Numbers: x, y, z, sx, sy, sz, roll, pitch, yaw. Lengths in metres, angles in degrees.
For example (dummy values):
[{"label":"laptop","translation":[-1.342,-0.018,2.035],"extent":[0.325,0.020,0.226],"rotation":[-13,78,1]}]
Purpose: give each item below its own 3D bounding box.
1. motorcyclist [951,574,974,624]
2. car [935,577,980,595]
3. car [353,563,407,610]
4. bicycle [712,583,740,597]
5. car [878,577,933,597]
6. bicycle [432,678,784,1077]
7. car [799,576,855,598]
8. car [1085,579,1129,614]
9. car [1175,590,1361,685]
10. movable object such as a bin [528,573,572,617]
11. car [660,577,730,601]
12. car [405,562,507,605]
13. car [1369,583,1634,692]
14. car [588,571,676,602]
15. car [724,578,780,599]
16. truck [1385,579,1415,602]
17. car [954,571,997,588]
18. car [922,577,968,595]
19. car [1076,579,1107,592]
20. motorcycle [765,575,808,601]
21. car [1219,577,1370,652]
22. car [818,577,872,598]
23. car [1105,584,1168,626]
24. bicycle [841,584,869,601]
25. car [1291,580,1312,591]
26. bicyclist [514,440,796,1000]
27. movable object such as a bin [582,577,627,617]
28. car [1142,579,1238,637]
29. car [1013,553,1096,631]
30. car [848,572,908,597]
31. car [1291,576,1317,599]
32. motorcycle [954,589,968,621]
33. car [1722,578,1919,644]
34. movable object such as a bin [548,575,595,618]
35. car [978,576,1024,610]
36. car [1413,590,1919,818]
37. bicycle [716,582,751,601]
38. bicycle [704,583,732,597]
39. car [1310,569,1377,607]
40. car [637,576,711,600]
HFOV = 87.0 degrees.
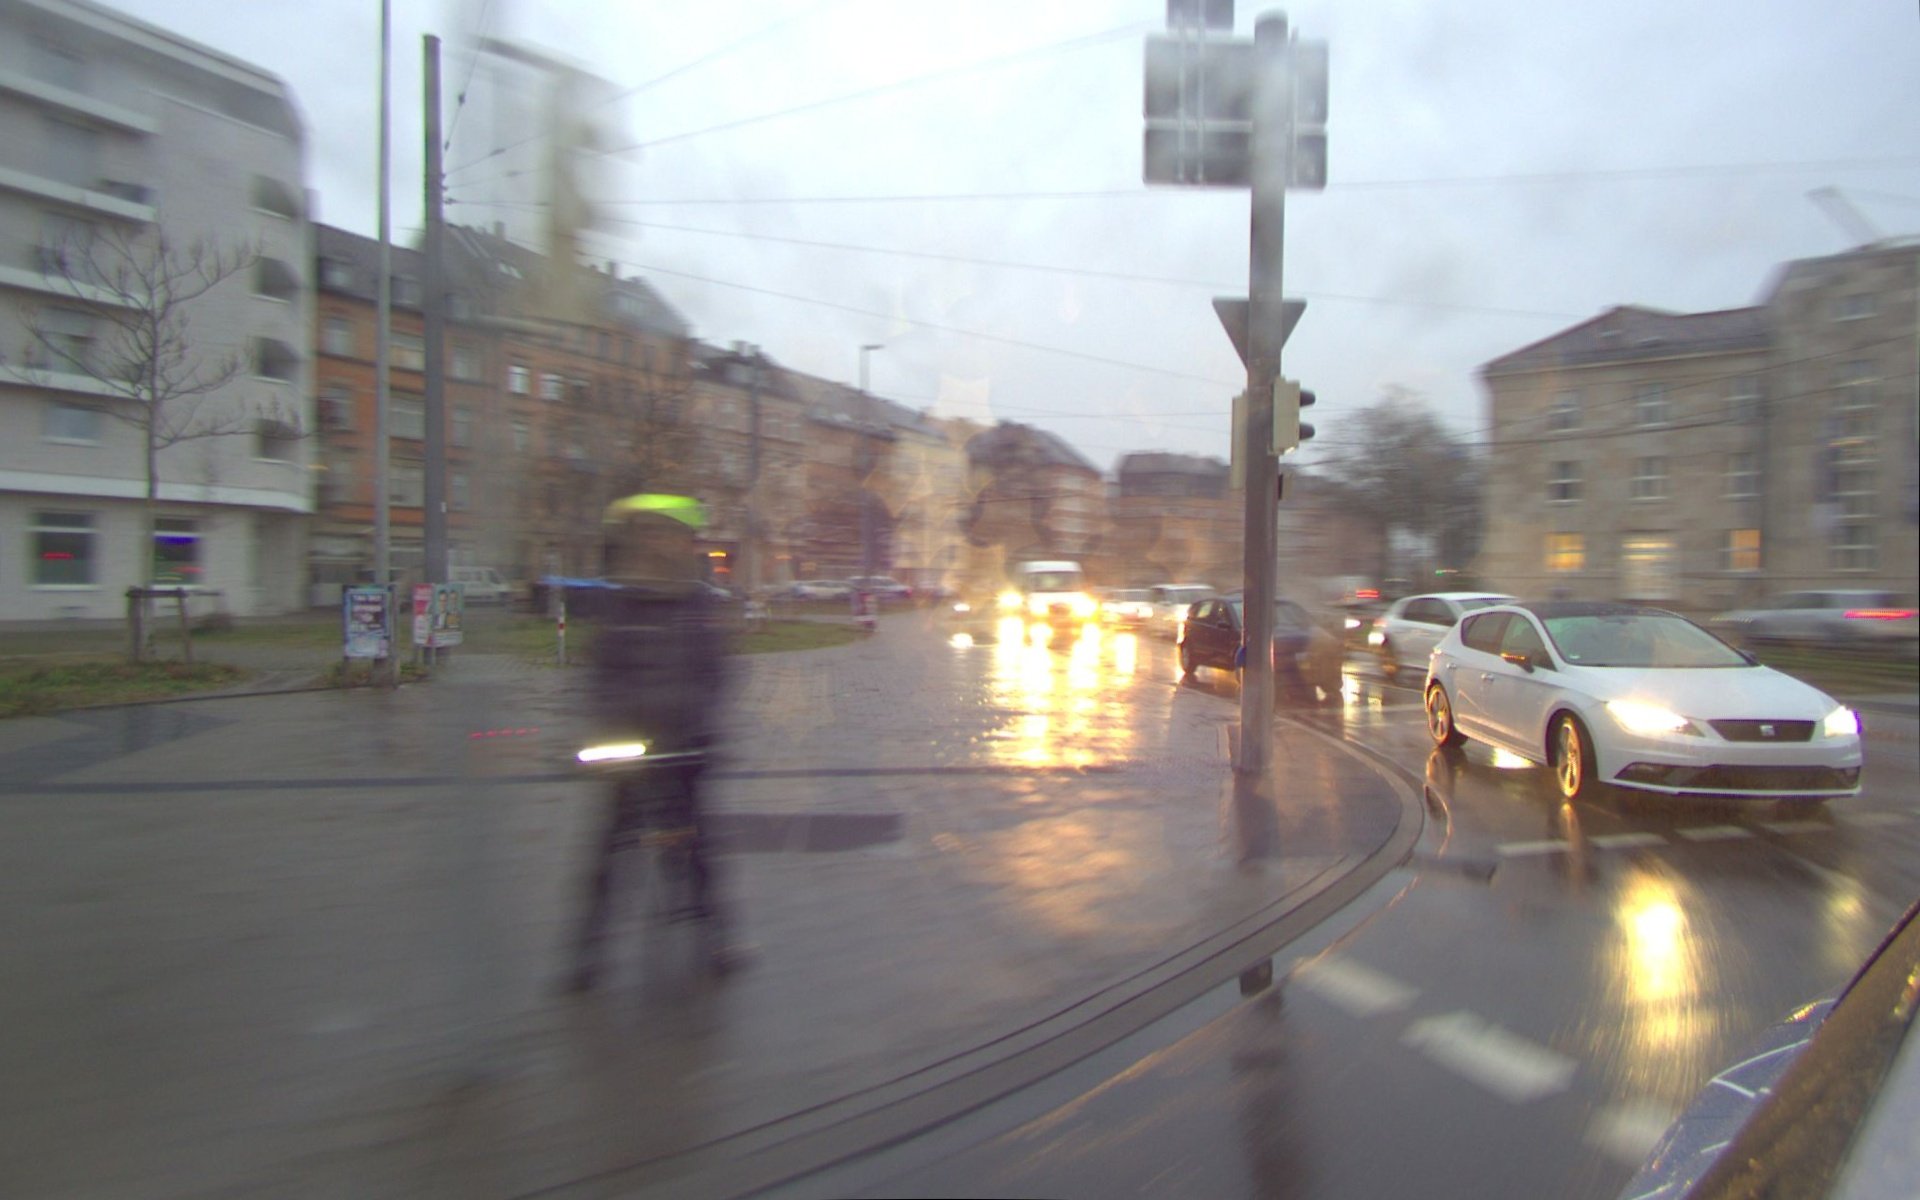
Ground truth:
[{"label":"motorcyclist","translation":[0.087,-0.036,38.790],"extent":[0.869,1.905,0.922],"rotation":[0,1,-1]},{"label":"car","translation":[-0.186,-1.159,83.691],"extent":[3.551,1.387,1.616],"rotation":[0,1,5]},{"label":"car","translation":[-26.055,-0.631,45.377],"extent":[1.905,1.966,4.601],"rotation":[0,1,-32]},{"label":"bicycle","translation":[-14.443,-0.612,62.404],"extent":[1.777,0.787,0.442],"rotation":[3,1,25]},{"label":"car","translation":[-4.105,-1.011,76.188],"extent":[3.895,1.463,1.699],"rotation":[0,1,6]},{"label":"bicycle","translation":[-1.203,0.887,3.915],"extent":[0.645,0.986,1.865],"rotation":[0,1,3]},{"label":"car","translation":[-9.055,-0.893,68.896],"extent":[3.620,1.417,1.521],"rotation":[0,1,2]},{"label":"car","translation":[6.583,-0.169,45.027],"extent":[1.847,1.493,4.158],"rotation":[0,1,10]},{"label":"car","translation":[5.187,0.562,17.594],"extent":[1.689,1.405,3.827],"rotation":[-1,1,-7]},{"label":"movable object such as a bin","translation":[-15.323,-0.202,37.824],"extent":[1.047,1.595,1.125],"rotation":[1,1,36]},{"label":"car","translation":[-15.170,-0.657,58.010],"extent":[3.618,1.322,1.668],"rotation":[0,1,0]},{"label":"car","translation":[-26.810,-0.882,54.017],"extent":[1.982,2.216,4.615],"rotation":[1,1,29]},{"label":"car","translation":[8.485,0.495,16.296],"extent":[1.728,1.482,3.924],"rotation":[-2,1,-8]},{"label":"car","translation":[-17.297,-0.726,53.489],"extent":[4.078,1.589,1.742],"rotation":[0,1,0]},{"label":"car","translation":[-13.396,-0.736,65.234],"extent":[3.240,1.322,1.521],"rotation":[0,1,2]},{"label":"truck","translation":[40.047,-0.880,92.029],"extent":[1.825,2.070,3.953],"rotation":[1,1,33]},{"label":"car","translation":[1.303,-1.764,86.272],"extent":[3.545,1.387,1.618],"rotation":[0,1,0]},{"label":"car","translation":[-1.200,-1.147,81.374],"extent":[3.551,1.387,1.616],"rotation":[0,1,5]},{"label":"car","translation":[13.993,-1.551,107.768],"extent":[3.136,1.431,1.377],"rotation":[1,1,11]},{"label":"motorcycle","translation":[-10.253,-0.705,59.698],"extent":[2.325,1.362,0.881],"rotation":[3,2,16]},{"label":"car","translation":[7.743,0.269,23.879],"extent":[1.790,1.589,4.366],"rotation":[0,1,-5]},{"label":"car","translation":[-8.094,-0.914,71.444],"extent":[3.620,1.455,1.521],"rotation":[0,1,2]},{"label":"car","translation":[6.435,0.141,37.230],"extent":[1.658,1.448,3.348],"rotation":[0,1,-1]},{"label":"bicycle","translation":[-6.585,-0.482,63.381],"extent":[1.780,0.943,0.441],"rotation":[3,1,30]},{"label":"car","translation":[43.041,-1.789,127.667],"extent":[1.739,1.387,3.573],"rotation":[1,1,32]},{"label":"bicyclist","translation":[-1.132,0.399,3.974],"extent":[0.779,1.914,0.988],"rotation":[0,1,3]},{"label":"movable object such as a bin","translation":[-13.370,-0.119,38.050],"extent":[1.047,1.450,1.209],"rotation":[1,1,36]},{"label":"car","translation":[6.876,0.183,30.725],"extent":[1.643,1.619,4.227],"rotation":[0,1,-5]},{"label":"car","translation":[3.193,-0.313,35.513],"extent":[2.200,2.493,5.672],"rotation":[0,1,-2]},{"label":"car","translation":[-5.969,-1.135,73.918],"extent":[4.264,1.790,1.781],"rotation":[0,1,1]},{"label":"car","translation":[26.048,-0.973,76.679],"extent":[1.622,1.402,4.457],"rotation":[1,4,16]},{"label":"motorcycle","translation":[0.025,0.168,38.932],"extent":[0.475,1.198,2.410],"rotation":[0,1,-1]},{"label":"car","translation":[21.906,0.212,25.472],"extent":[1.828,1.504,4.347],"rotation":[0,1,-6]},{"label":"movable object such as a bin","translation":[-14.146,-0.147,36.896],"extent":[1.047,1.529,1.237],"rotation":[1,1,36]},{"label":"car","translation":[2.225,-0.395,53.523],"extent":[1.848,1.709,4.158],"rotation":[0,1,11]},{"label":"car","translation":[5.537,0.664,8.645],"extent":[1.758,1.396,4.217],"rotation":[-1,1,6]},{"label":"bicycle","translation":[-12.636,-0.460,56.519],"extent":[1.873,1.031,0.536],"rotation":[1,2,-40]},{"label":"bicycle","translation":[-14.831,-0.618,61.957],"extent":[1.777,0.805,0.442],"rotation":[3,1,25]},{"label":"car","translation":[20.254,-0.655,53.720],"extent":[1.870,1.895,4.960],"rotation":[0,1,3]},{"label":"car","translation":[-15.711,-0.674,55.749],"extent":[3.618,1.322,1.742],"rotation":[0,1,0]}]
